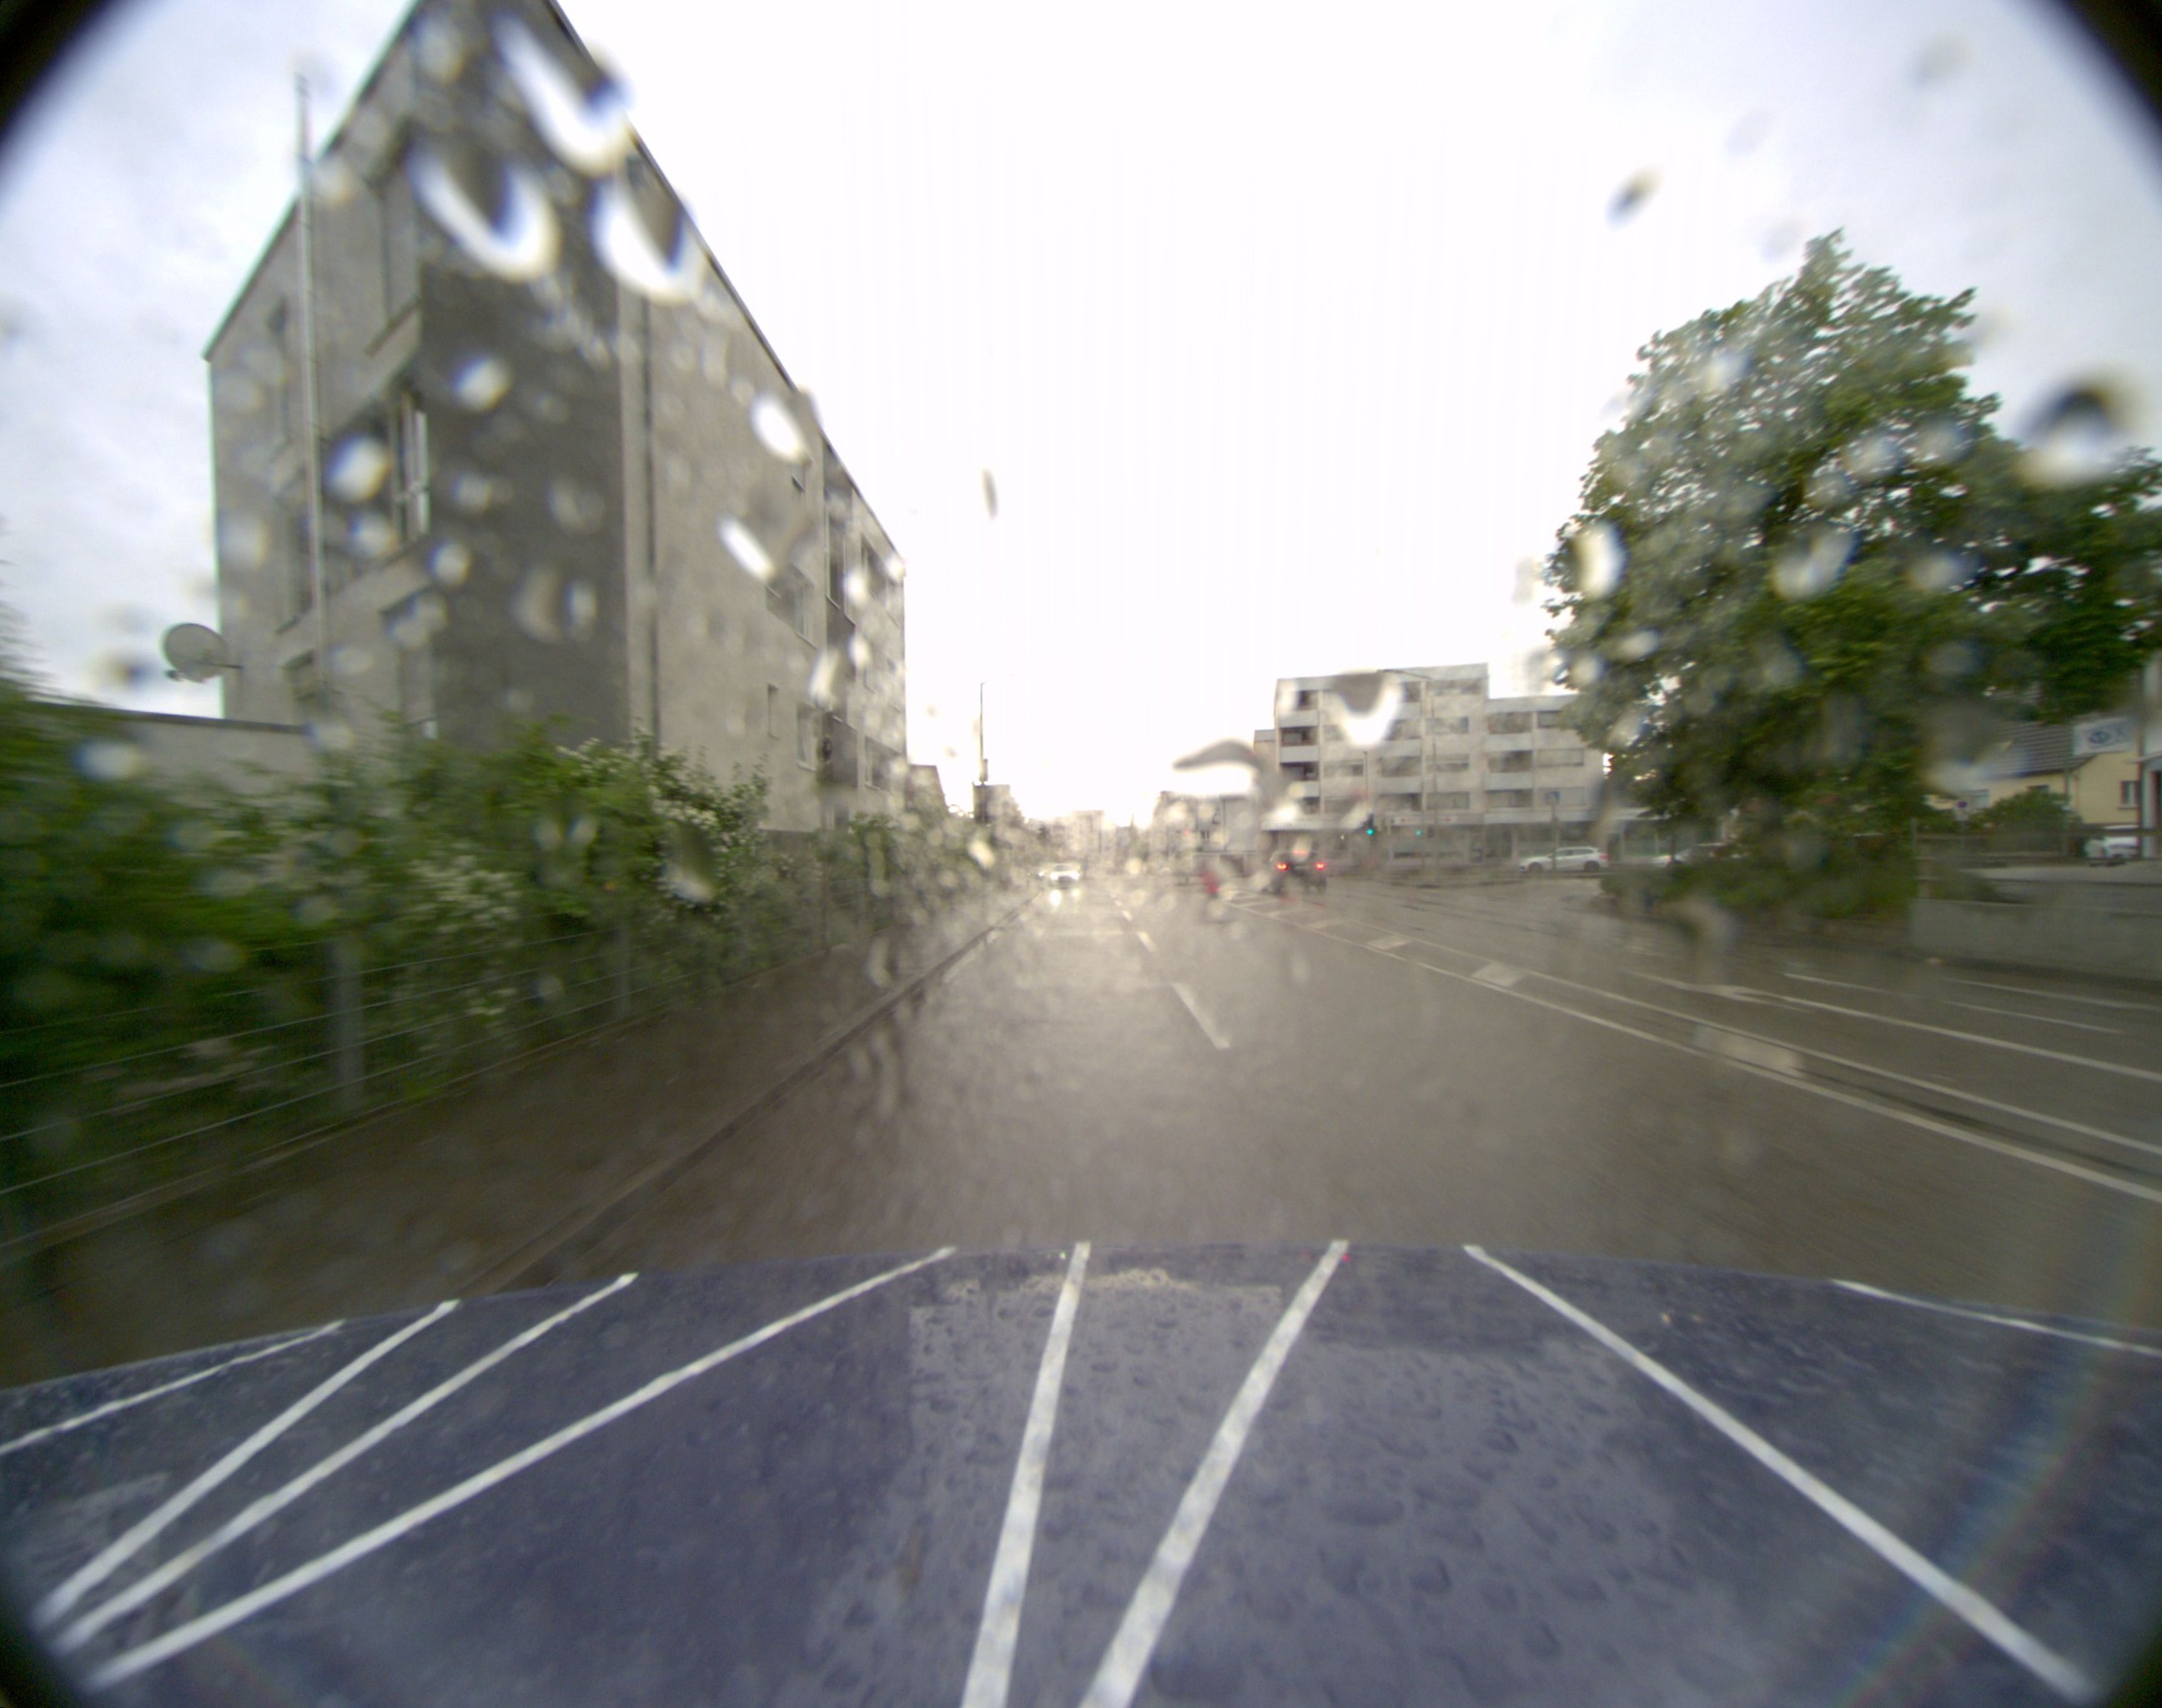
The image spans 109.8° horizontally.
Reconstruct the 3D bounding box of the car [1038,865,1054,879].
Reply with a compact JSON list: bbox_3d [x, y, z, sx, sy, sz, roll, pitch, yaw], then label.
[{"bbox_3d":[-4.631,2.366,100.047,1.999,1.849,3.998,0,0,-5],"label":"car"}]

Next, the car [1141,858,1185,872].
[{"bbox_3d":[10.992,1.412,101.540,5.468,1.674,2.151,-2,-1,21],"label":"car"}]

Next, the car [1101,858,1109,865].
[{"bbox_3d":[6.351,2.027,201.226,2.102,1.822,4.735,-2,-1,4],"label":"car"}]

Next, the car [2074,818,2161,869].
[{"bbox_3d":[33.999,-0.361,24.537,4.008,1.517,1.995,-2,0,-42],"label":"car"}]

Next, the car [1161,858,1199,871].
[{"bbox_3d":[12.596,1.359,96.986,4.622,1.487,1.930,-2,0,3],"label":"car"}]

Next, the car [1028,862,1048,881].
[{"bbox_3d":[-4.489,1.803,78.812,1.999,1.849,3.998,0,0,-5],"label":"car"}]

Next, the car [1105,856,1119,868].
[{"bbox_3d":[5.152,1.338,126.931,1.999,2.001,4.652,-2,-1,-1],"label":"car"}]

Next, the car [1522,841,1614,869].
[{"bbox_3d":[27.495,0.061,42.959,4.276,1.426,1.838,-2,0,35],"label":"car"}]

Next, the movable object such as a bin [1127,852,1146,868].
[{"bbox_3d":[10.023,1.033,136.982,2.922,2.824,2.200,-2,0,17],"label":"movable object such as a bin"}]

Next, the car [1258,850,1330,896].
[{"bbox_3d":[7.963,0.671,28.788,1.806,1.547,4.320,-2,0,5],"label":"car"}]

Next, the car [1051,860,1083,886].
[{"bbox_3d":[-0.839,1.110,46.273,1.830,1.431,4.344,-2,0,-1],"label":"car"}]

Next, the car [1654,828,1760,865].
[{"bbox_3d":[32.459,-0.387,39.557,3.909,1.722,1.838,-2,0,28],"label":"car"}]

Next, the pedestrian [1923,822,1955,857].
[{"bbox_3d":[45.808,-0.778,40.572,0.723,1.847,0.850,-2,0,13],"label":"pedestrian"}]
